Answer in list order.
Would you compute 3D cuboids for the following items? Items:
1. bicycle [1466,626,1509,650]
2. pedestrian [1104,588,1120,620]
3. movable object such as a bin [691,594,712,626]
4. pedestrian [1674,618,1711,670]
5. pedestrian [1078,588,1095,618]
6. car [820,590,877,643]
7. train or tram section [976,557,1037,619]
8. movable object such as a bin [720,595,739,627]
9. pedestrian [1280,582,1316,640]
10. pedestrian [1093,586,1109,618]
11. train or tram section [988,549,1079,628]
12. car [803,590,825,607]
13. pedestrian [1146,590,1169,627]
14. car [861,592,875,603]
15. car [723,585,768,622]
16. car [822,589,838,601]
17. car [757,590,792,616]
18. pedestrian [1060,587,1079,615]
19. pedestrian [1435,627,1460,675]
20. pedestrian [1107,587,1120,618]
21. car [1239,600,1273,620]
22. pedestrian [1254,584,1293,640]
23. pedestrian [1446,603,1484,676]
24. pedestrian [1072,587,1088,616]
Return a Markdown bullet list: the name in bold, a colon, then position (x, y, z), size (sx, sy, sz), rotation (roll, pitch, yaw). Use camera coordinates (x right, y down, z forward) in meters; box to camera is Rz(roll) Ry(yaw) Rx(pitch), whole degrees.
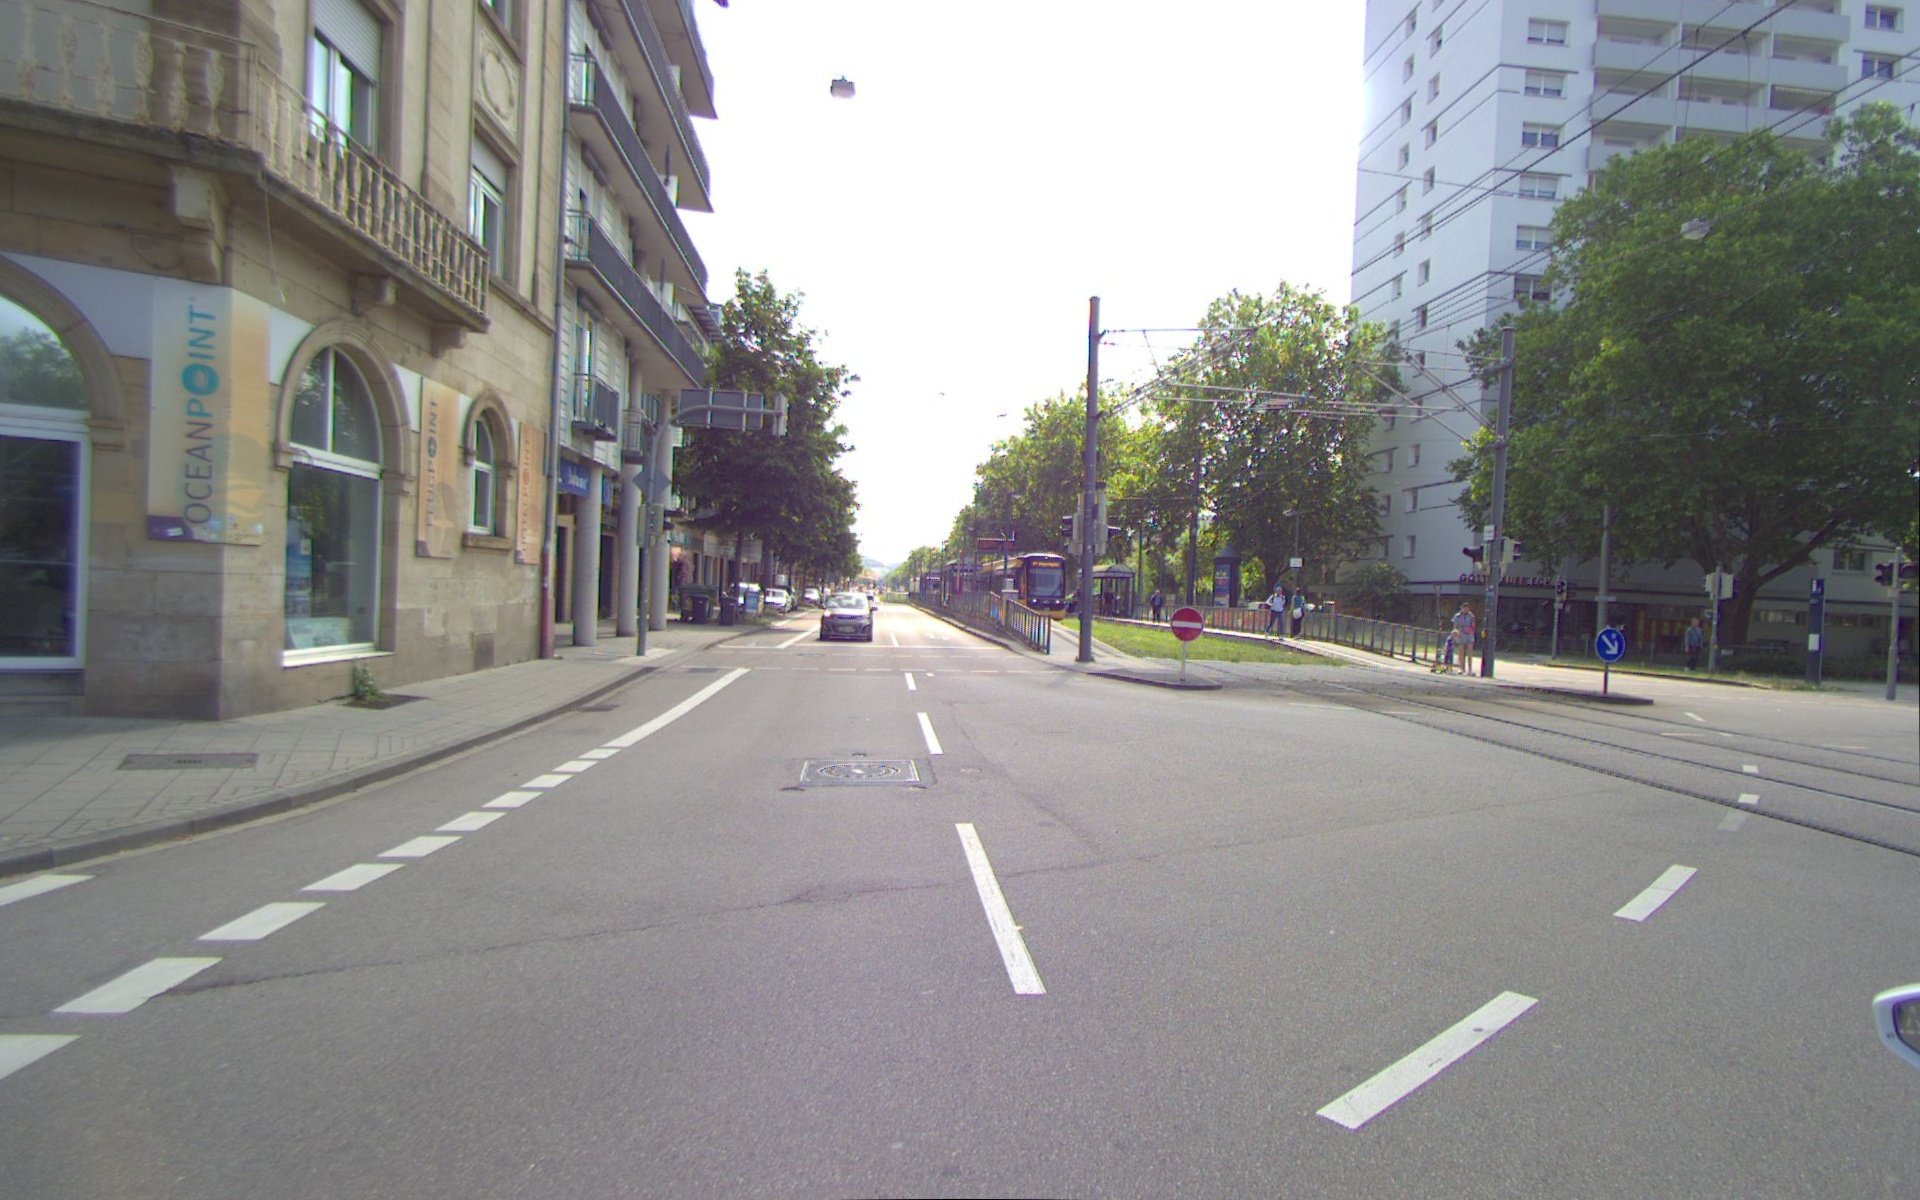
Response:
- **bicycle**: position (24.595, 1.776, 46.881), size (1.695, 1.022, 0.534), rotation (3, 1, 22)
- **pedestrian**: position (9.159, 0.238, 60.382), size (0.690, 1.874, 0.788), rotation (2, 0, -6)
- **movable object such as a bin**: position (-9.458, 0.352, 36.832), size (0.639, 1.132, 0.787), rotation (2, 1, -10)
- **pedestrian**: position (23.559, 1.416, 32.317), size (0.525, 1.620, 0.784), rotation (2, 1, -8)
- **pedestrian**: position (8.299, 0.199, 65.894), size (0.798, 1.897, 1.030), rotation (2, 1, -6)
- **car**: position (-3.438, 0.470, 31.167), size (1.608, 1.458, 3.640), rotation (2, 0, -6)
- **train or tram section**: position (2.916, -0.755, 66.241), size (2.751, 3.632, 10.398), rotation (3, 0, -3)
- **movable object such as a bin**: position (-8.497, 0.396, 37.042), size (0.582, 1.132, 0.787), rotation (2, 1, -10)
- **pedestrian**: position (11.578, 0.377, 34.447), size (0.814, 1.924, 0.846), rotation (3, 0, -5)
- **pedestrian**: position (8.472, 0.138, 60.347), size (0.690, 1.874, 0.907), rotation (2, 0, -6)
- **train or tram section**: position (3.712, -0.638, 54.561), size (2.763, 3.632, 13.005), rotation (3, 0, -5)
- **car**: position (-12.877, -0.143, 88.794), size (1.692, 1.390, 3.474), rotation (2, 1, -5)
- **pedestrian**: position (10.023, 0.418, 50.964), size (0.844, 1.798, 0.876), rotation (3, 0, -5)
- **car**: position (-11.696, -0.344, 127.875), size (1.629, 1.390, 3.474), rotation (2, 1, -5)
- **car**: position (-9.811, 0.134, 46.171), size (1.627, 1.600, 3.473), rotation (2, 1, -7)
- **car**: position (-15.572, -0.606, 120.501), size (1.692, 1.390, 3.474), rotation (2, 1, -5)
- **car**: position (-10.968, 0.162, 59.649), size (1.692, 1.390, 3.474), rotation (2, 1, -5)
- **pedestrian**: position (7.384, 0.088, 67.707), size (0.872, 1.825, 1.493), rotation (2, 1, -6)
- **pedestrian**: position (11.488, 1.199, 23.659), size (0.412, 1.077, 0.437), rotation (3, 1, 16)
- **pedestrian**: position (9.582, 0.167, 62.741), size (0.466, 1.926, 0.533), rotation (2, 1, -29)
- **car**: position (29.111, 0.974, 99.017), size (1.778, 1.839, 4.336), rotation (3, 0, -3)
- **pedestrian**: position (10.419, 0.399, 33.390), size (0.835, 1.804, 1.044), rotation (3, 1, -5)
- **pedestrian**: position (12.049, 0.938, 24.000), size (0.613, 1.688, 0.676), rotation (2, 1, 14)
- **pedestrian**: position (7.773, 0.087, 64.973), size (0.701, 1.825, 1.131), rotation (2, 1, -6)
